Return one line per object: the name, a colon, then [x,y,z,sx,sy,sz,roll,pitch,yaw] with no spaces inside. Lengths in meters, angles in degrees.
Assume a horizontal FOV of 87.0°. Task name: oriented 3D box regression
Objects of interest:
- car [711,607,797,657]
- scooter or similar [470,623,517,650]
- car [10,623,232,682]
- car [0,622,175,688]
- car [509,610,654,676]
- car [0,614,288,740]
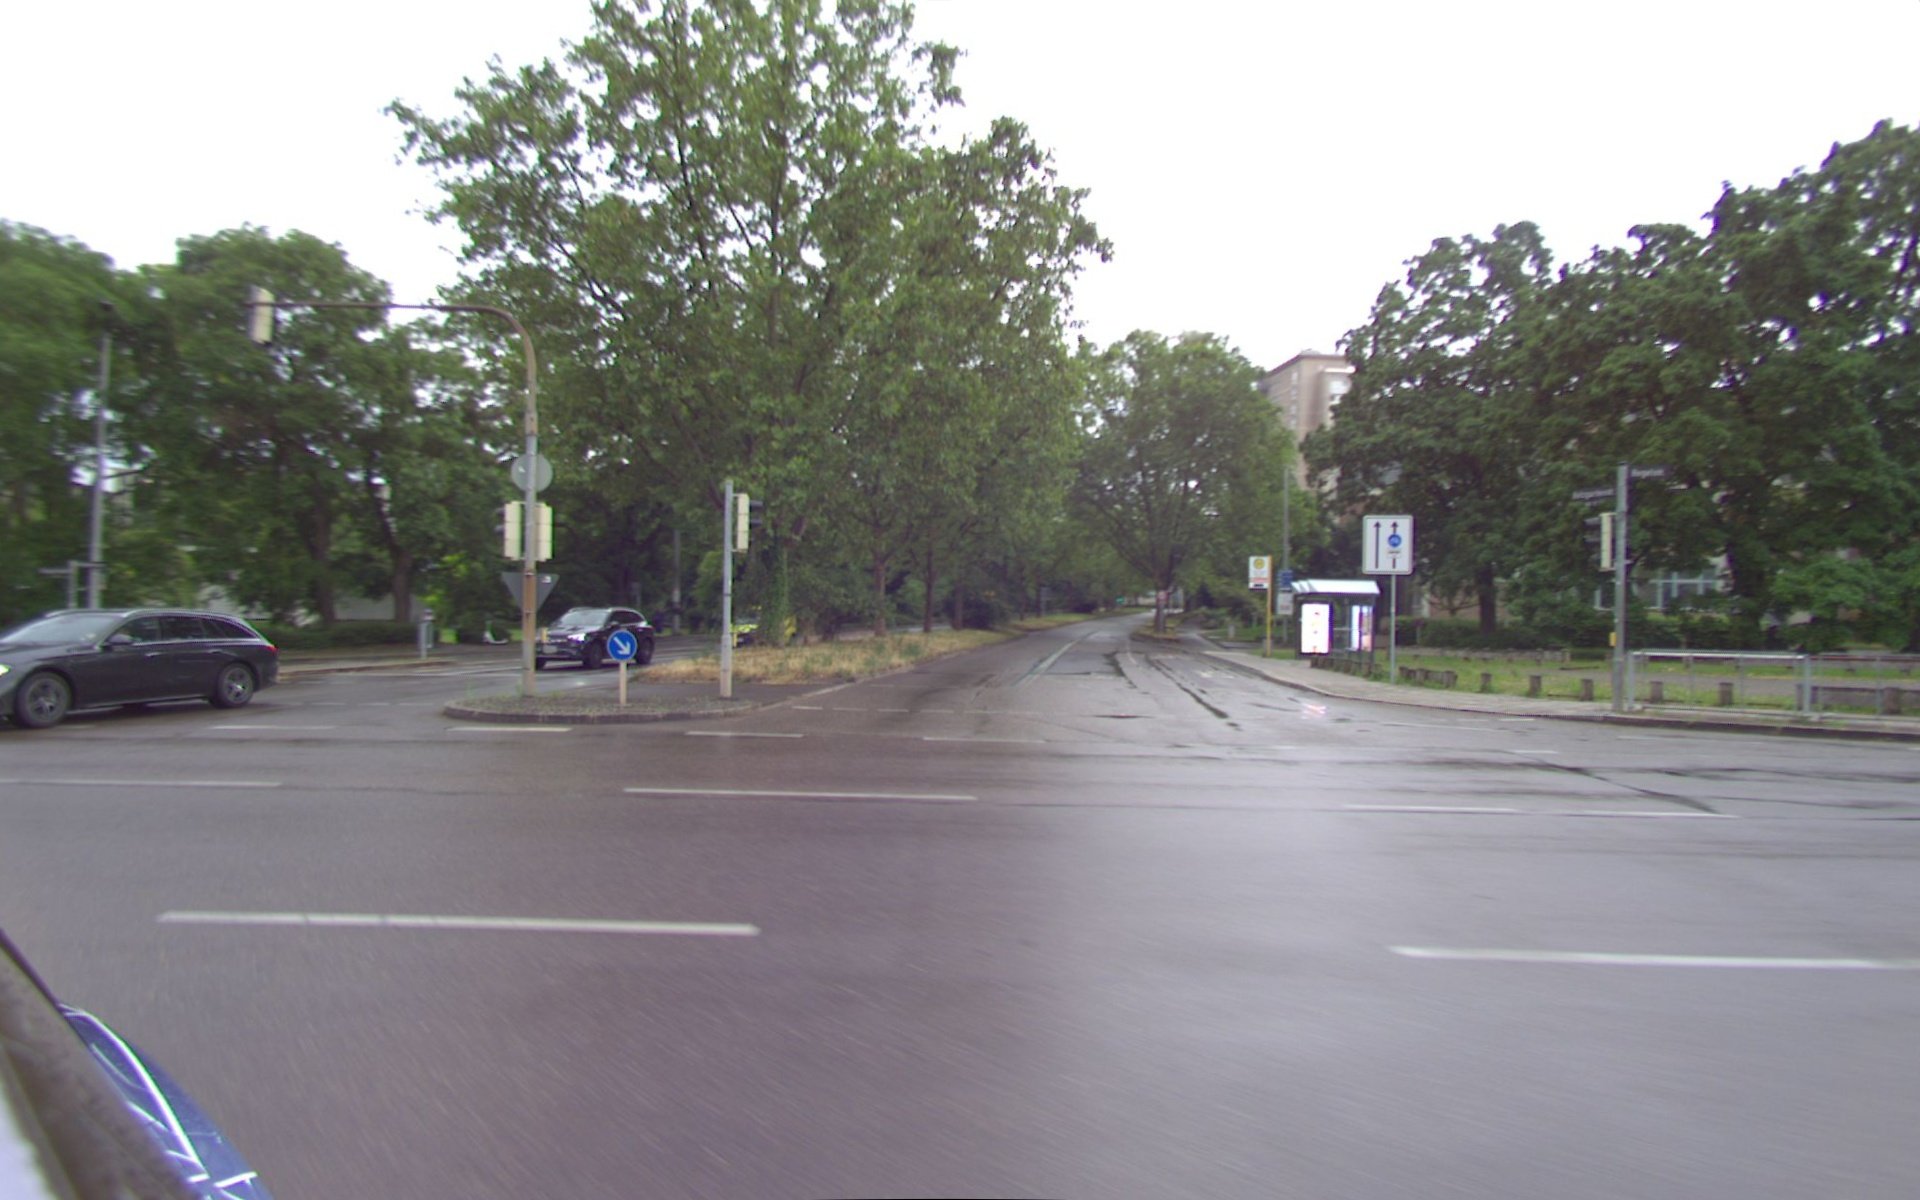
car: [-8.271,1.274,41.071,1.864,1.890,4.727,-2,-1,9]
scooter or similar: [-20.243,1.597,43.950,0.556,1.109,1.872,2,-1,29]
car: [-22.916,1.387,27.837,1.860,1.461,4.360,-1,-2,29]
car: [-21.457,1.276,24.137,1.863,1.461,3.953,-1,-2,34]
car: [-10.212,1.104,27.686,1.813,1.620,4.567,-1,-1,7]
car: [-11.807,0.925,13.676,1.862,1.456,4.921,0,-1,6]
